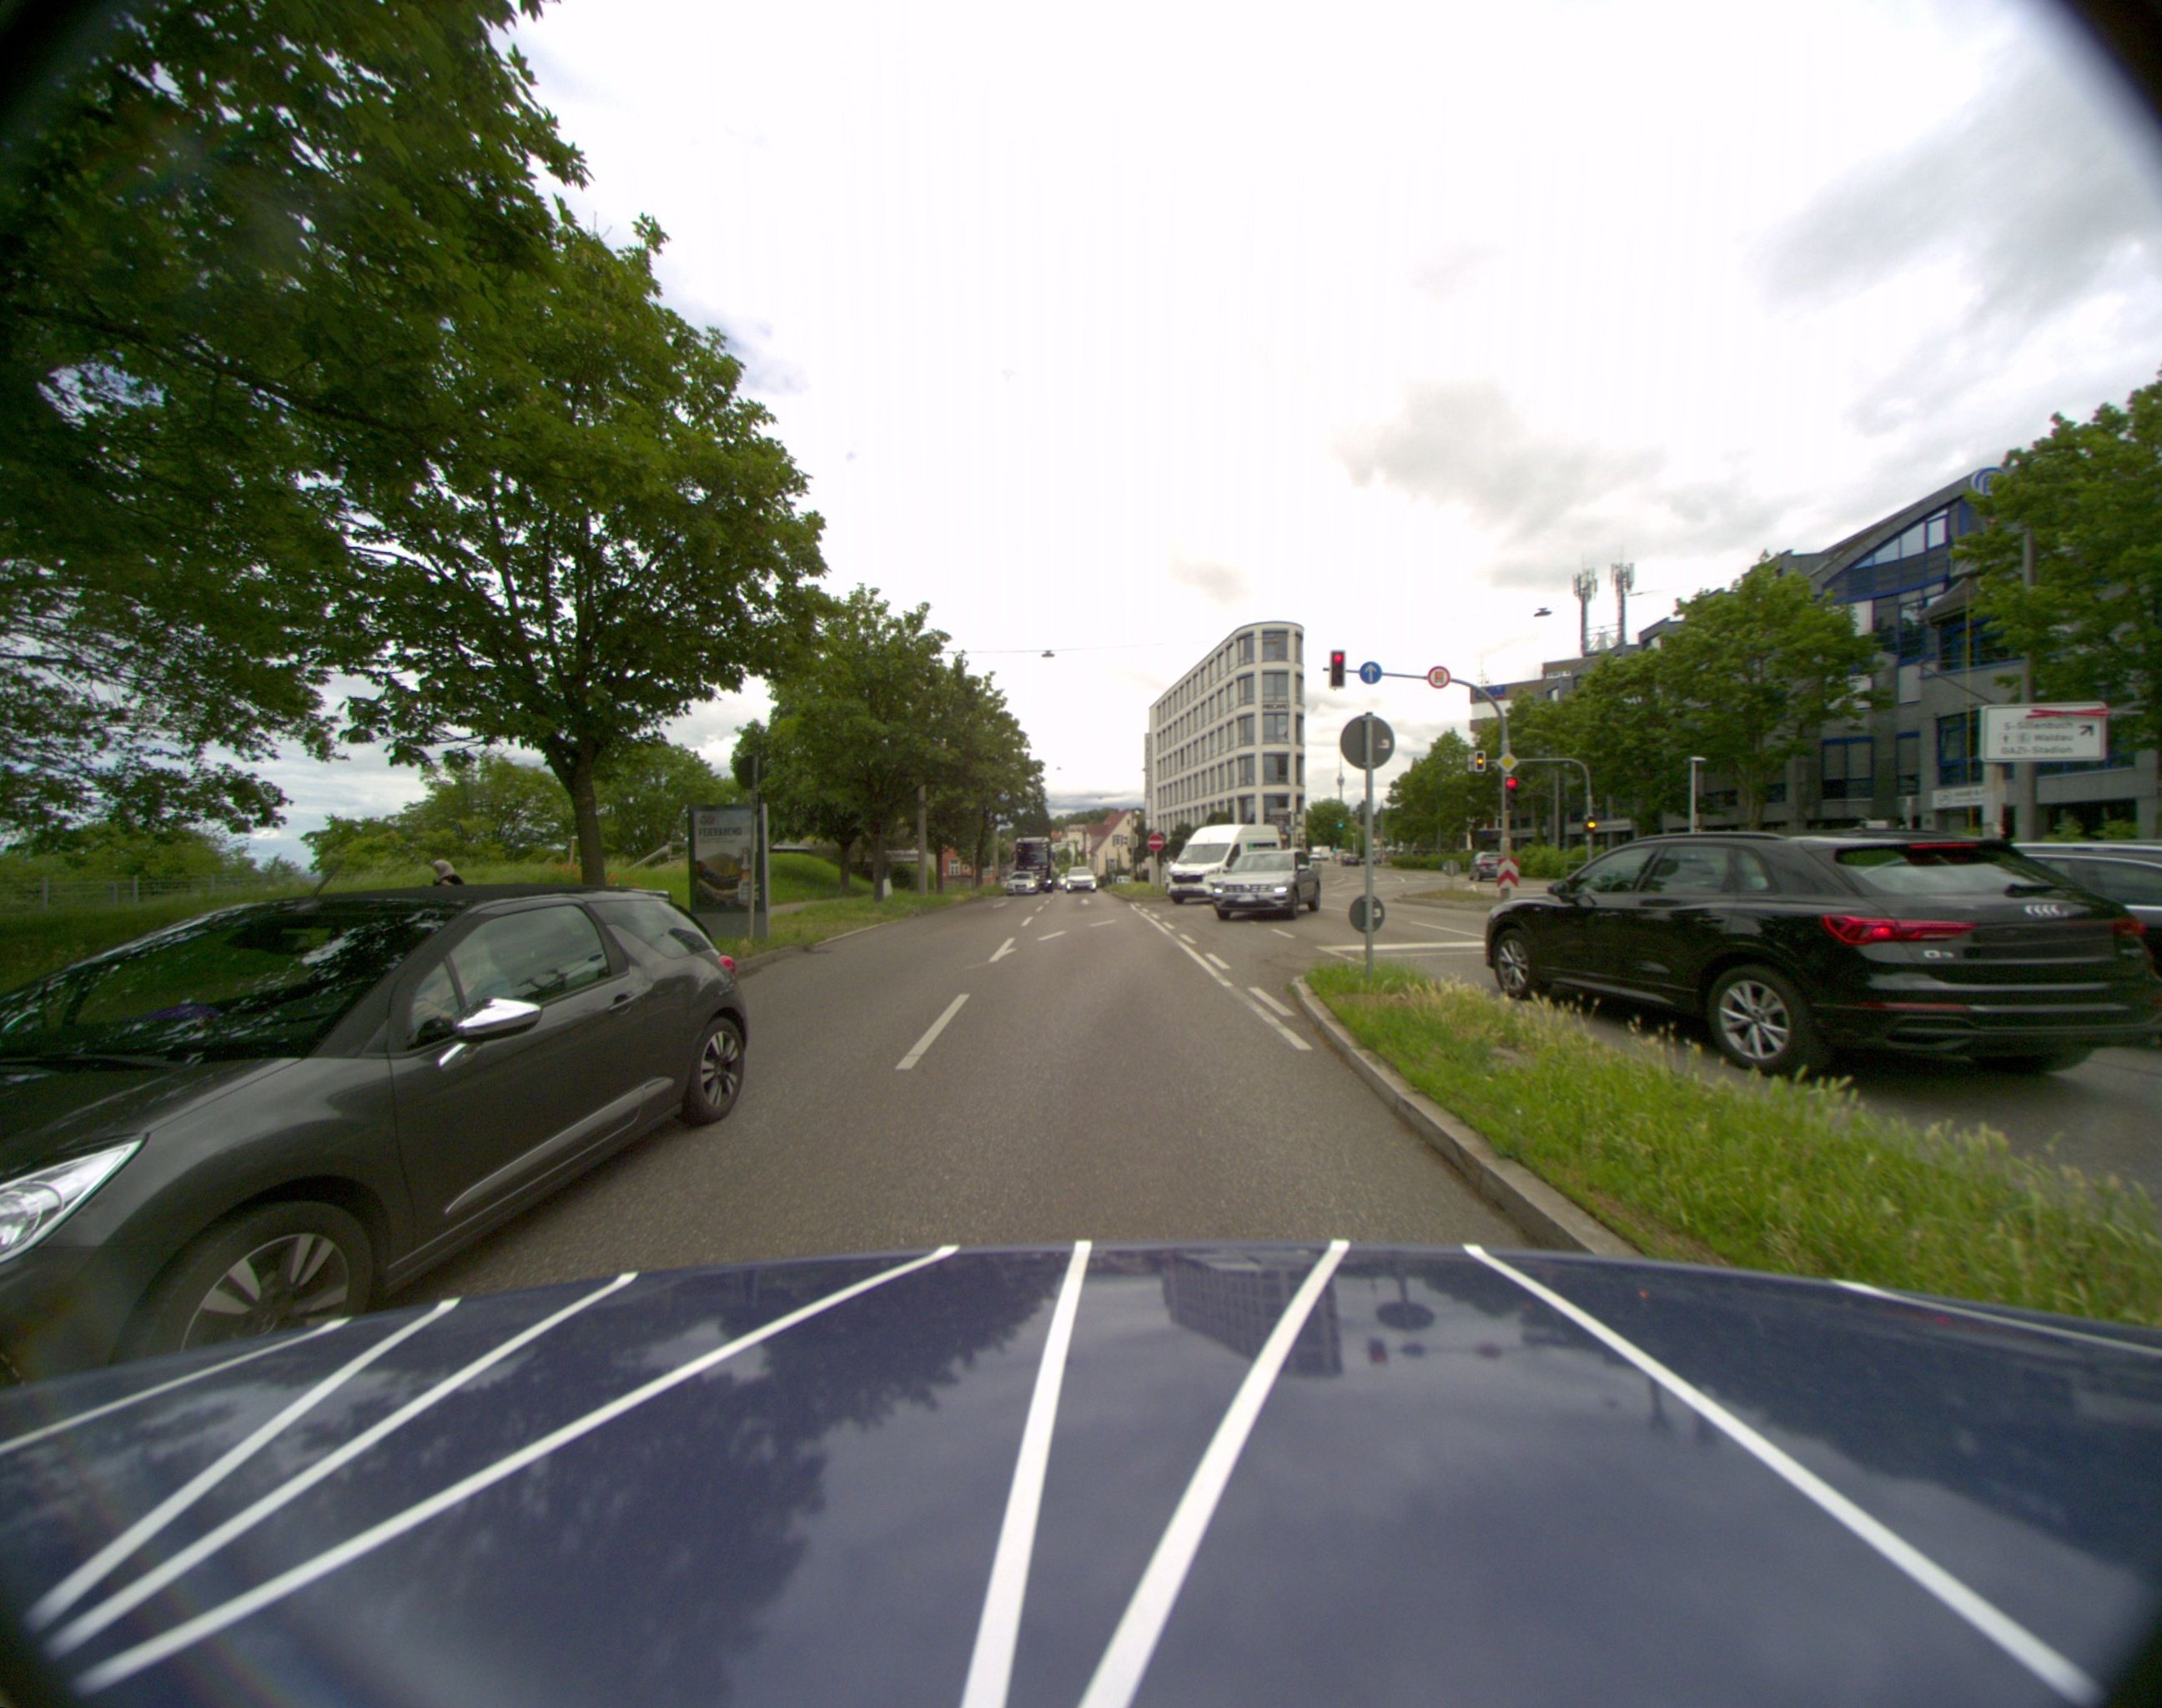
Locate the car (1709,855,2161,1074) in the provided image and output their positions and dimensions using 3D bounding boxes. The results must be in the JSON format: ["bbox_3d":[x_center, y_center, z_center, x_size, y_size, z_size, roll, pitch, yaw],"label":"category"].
[{"bbox_3d":[8.122,0.746,6.572,1.787,1.417,4.397,-2,-1,2],"label":"car"}]

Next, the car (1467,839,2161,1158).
[{"bbox_3d":[5.163,0.751,6.032,1.893,1.555,4.396,-2,-1,0],"label":"car"}]

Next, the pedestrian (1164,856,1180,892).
[{"bbox_3d":[4.987,1.079,41.576,0.756,1.906,0.588,-2,0,3],"label":"pedestrian"}]

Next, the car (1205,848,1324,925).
[{"bbox_3d":[4.630,0.716,18.664,1.830,1.636,4.334,-2,0,27],"label":"car"}]

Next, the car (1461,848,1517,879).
[{"bbox_3d":[21.524,0.490,40.270,1.785,1.528,4.402,-2,-1,17],"label":"car"}]

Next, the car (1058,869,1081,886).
[{"bbox_3d":[-1.202,2.309,74.739,1.737,1.558,4.324,-4,-1,-7],"label":"car"}]

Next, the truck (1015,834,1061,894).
[{"bbox_3d":[-2.989,0.682,54.951,2.827,3.902,9.457,-2,0,-1],"label":"truck"}]

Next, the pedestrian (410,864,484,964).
[{"bbox_3d":[-10.563,0.975,12.671,0.542,1.594,0.702,4,0,0],"label":"pedestrian"}]

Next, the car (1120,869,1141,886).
[{"bbox_3d":[6.598,3.142,101.394,2.177,2.002,3.998,-1,1,-5],"label":"car"}]

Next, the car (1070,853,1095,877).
[{"bbox_3d":[0.113,0.844,60.702,1.755,1.786,4.286,-1,0,-3],"label":"car"}]

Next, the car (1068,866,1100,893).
[{"bbox_3d":[0.167,1.554,46.935,1.855,1.520,4.489,-2,-1,0],"label":"car"}]

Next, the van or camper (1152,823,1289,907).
[{"bbox_3d":[5.138,0.321,27.073,2.106,2.674,6.312,-2,0,37],"label":"van or camper"}]

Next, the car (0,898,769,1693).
[{"bbox_3d":[-3.041,1.041,3.038,1.705,1.452,4.063,-2,0,3],"label":"car"}]

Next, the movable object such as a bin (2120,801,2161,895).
[{"bbox_3d":[29.771,-0.169,19.169,1.908,2.517,4.130,-1,0,12],"label":"movable object such as a bin"}]

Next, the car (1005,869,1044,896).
[{"bbox_3d":[-3.327,1.679,45.728,1.988,1.434,4.158,-2,0,0],"label":"car"}]
